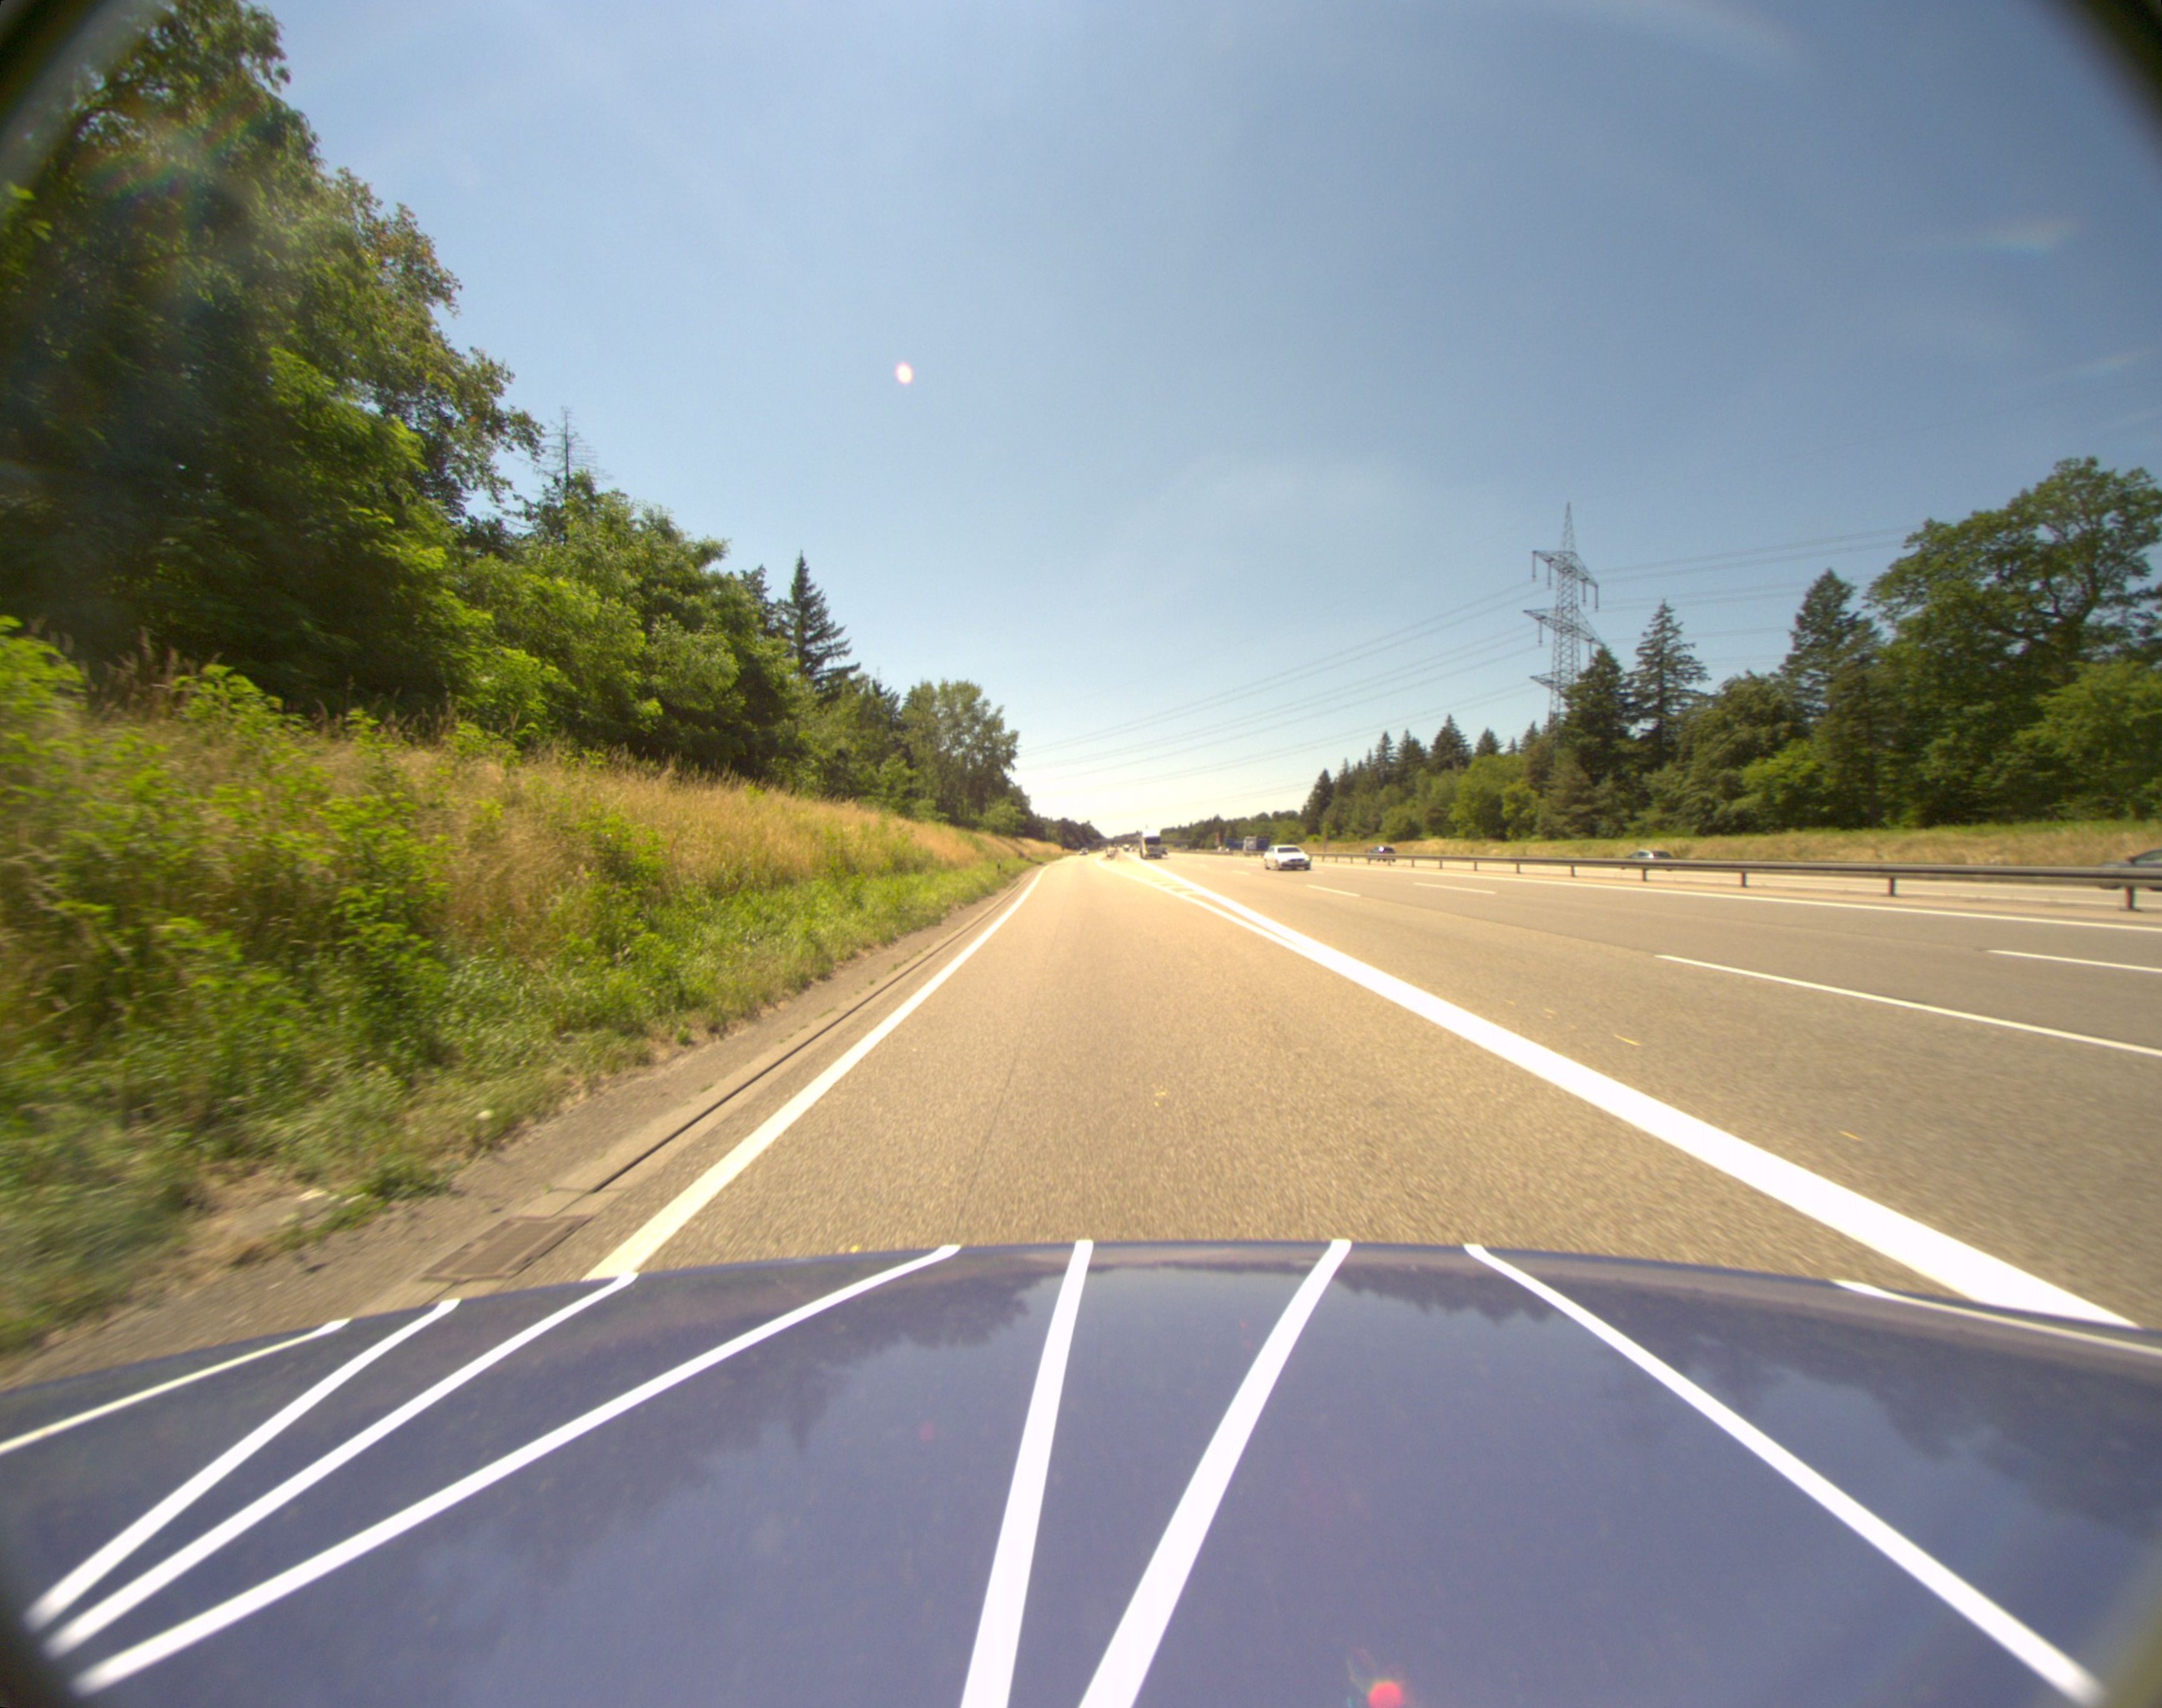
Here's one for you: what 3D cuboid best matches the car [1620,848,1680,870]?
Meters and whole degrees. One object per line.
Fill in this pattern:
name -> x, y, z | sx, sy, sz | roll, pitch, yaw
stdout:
car -> 39.756, 0.327, 53.173 | 1.625, 1.469, 3.567 | -1, 1, 3

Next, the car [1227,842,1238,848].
car -> 35.170, -2.096, 176.356 | 1.765, 1.395, 4.433 | 0, 1, 2

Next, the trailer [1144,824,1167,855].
trailer -> 10.676, -2.006, 109.336 | 2.981, 4.118, 11.699 | -1, 0, 5

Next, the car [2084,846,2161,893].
car -> 37.126, 0.536, 25.612 | 1.562, 1.518, 4.001 | -2, 1, 5

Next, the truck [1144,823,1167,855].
truck -> 10.168, -2.006, 103.393 | 2.979, 4.118, 5.350 | -1, 0, 5

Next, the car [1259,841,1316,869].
car -> 12.131, 0.011, 44.952 | 1.968, 1.495, 5.404 | -2, 1, 1

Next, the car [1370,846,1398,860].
car -> 30.216, -0.133, 75.905 | 1.566, 1.348, 3.567 | -1, 1, 3

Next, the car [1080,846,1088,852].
car -> 0.894, -1.349, 208.667 | 1.898, 1.417, 4.262 | -2, 0, 5

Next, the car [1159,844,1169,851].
car -> 17.113, -1.340, 156.018 | 1.898, 1.417, 4.262 | -2, 0, 5

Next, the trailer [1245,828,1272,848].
trailer -> 39.237, -3.442, 168.136 | 3.210, 4.148, 13.984 | 0, 1, 2

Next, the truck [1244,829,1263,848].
truck -> 39.508, -3.506, 174.434 | 3.210, 4.148, 5.723 | 0, 1, 2
